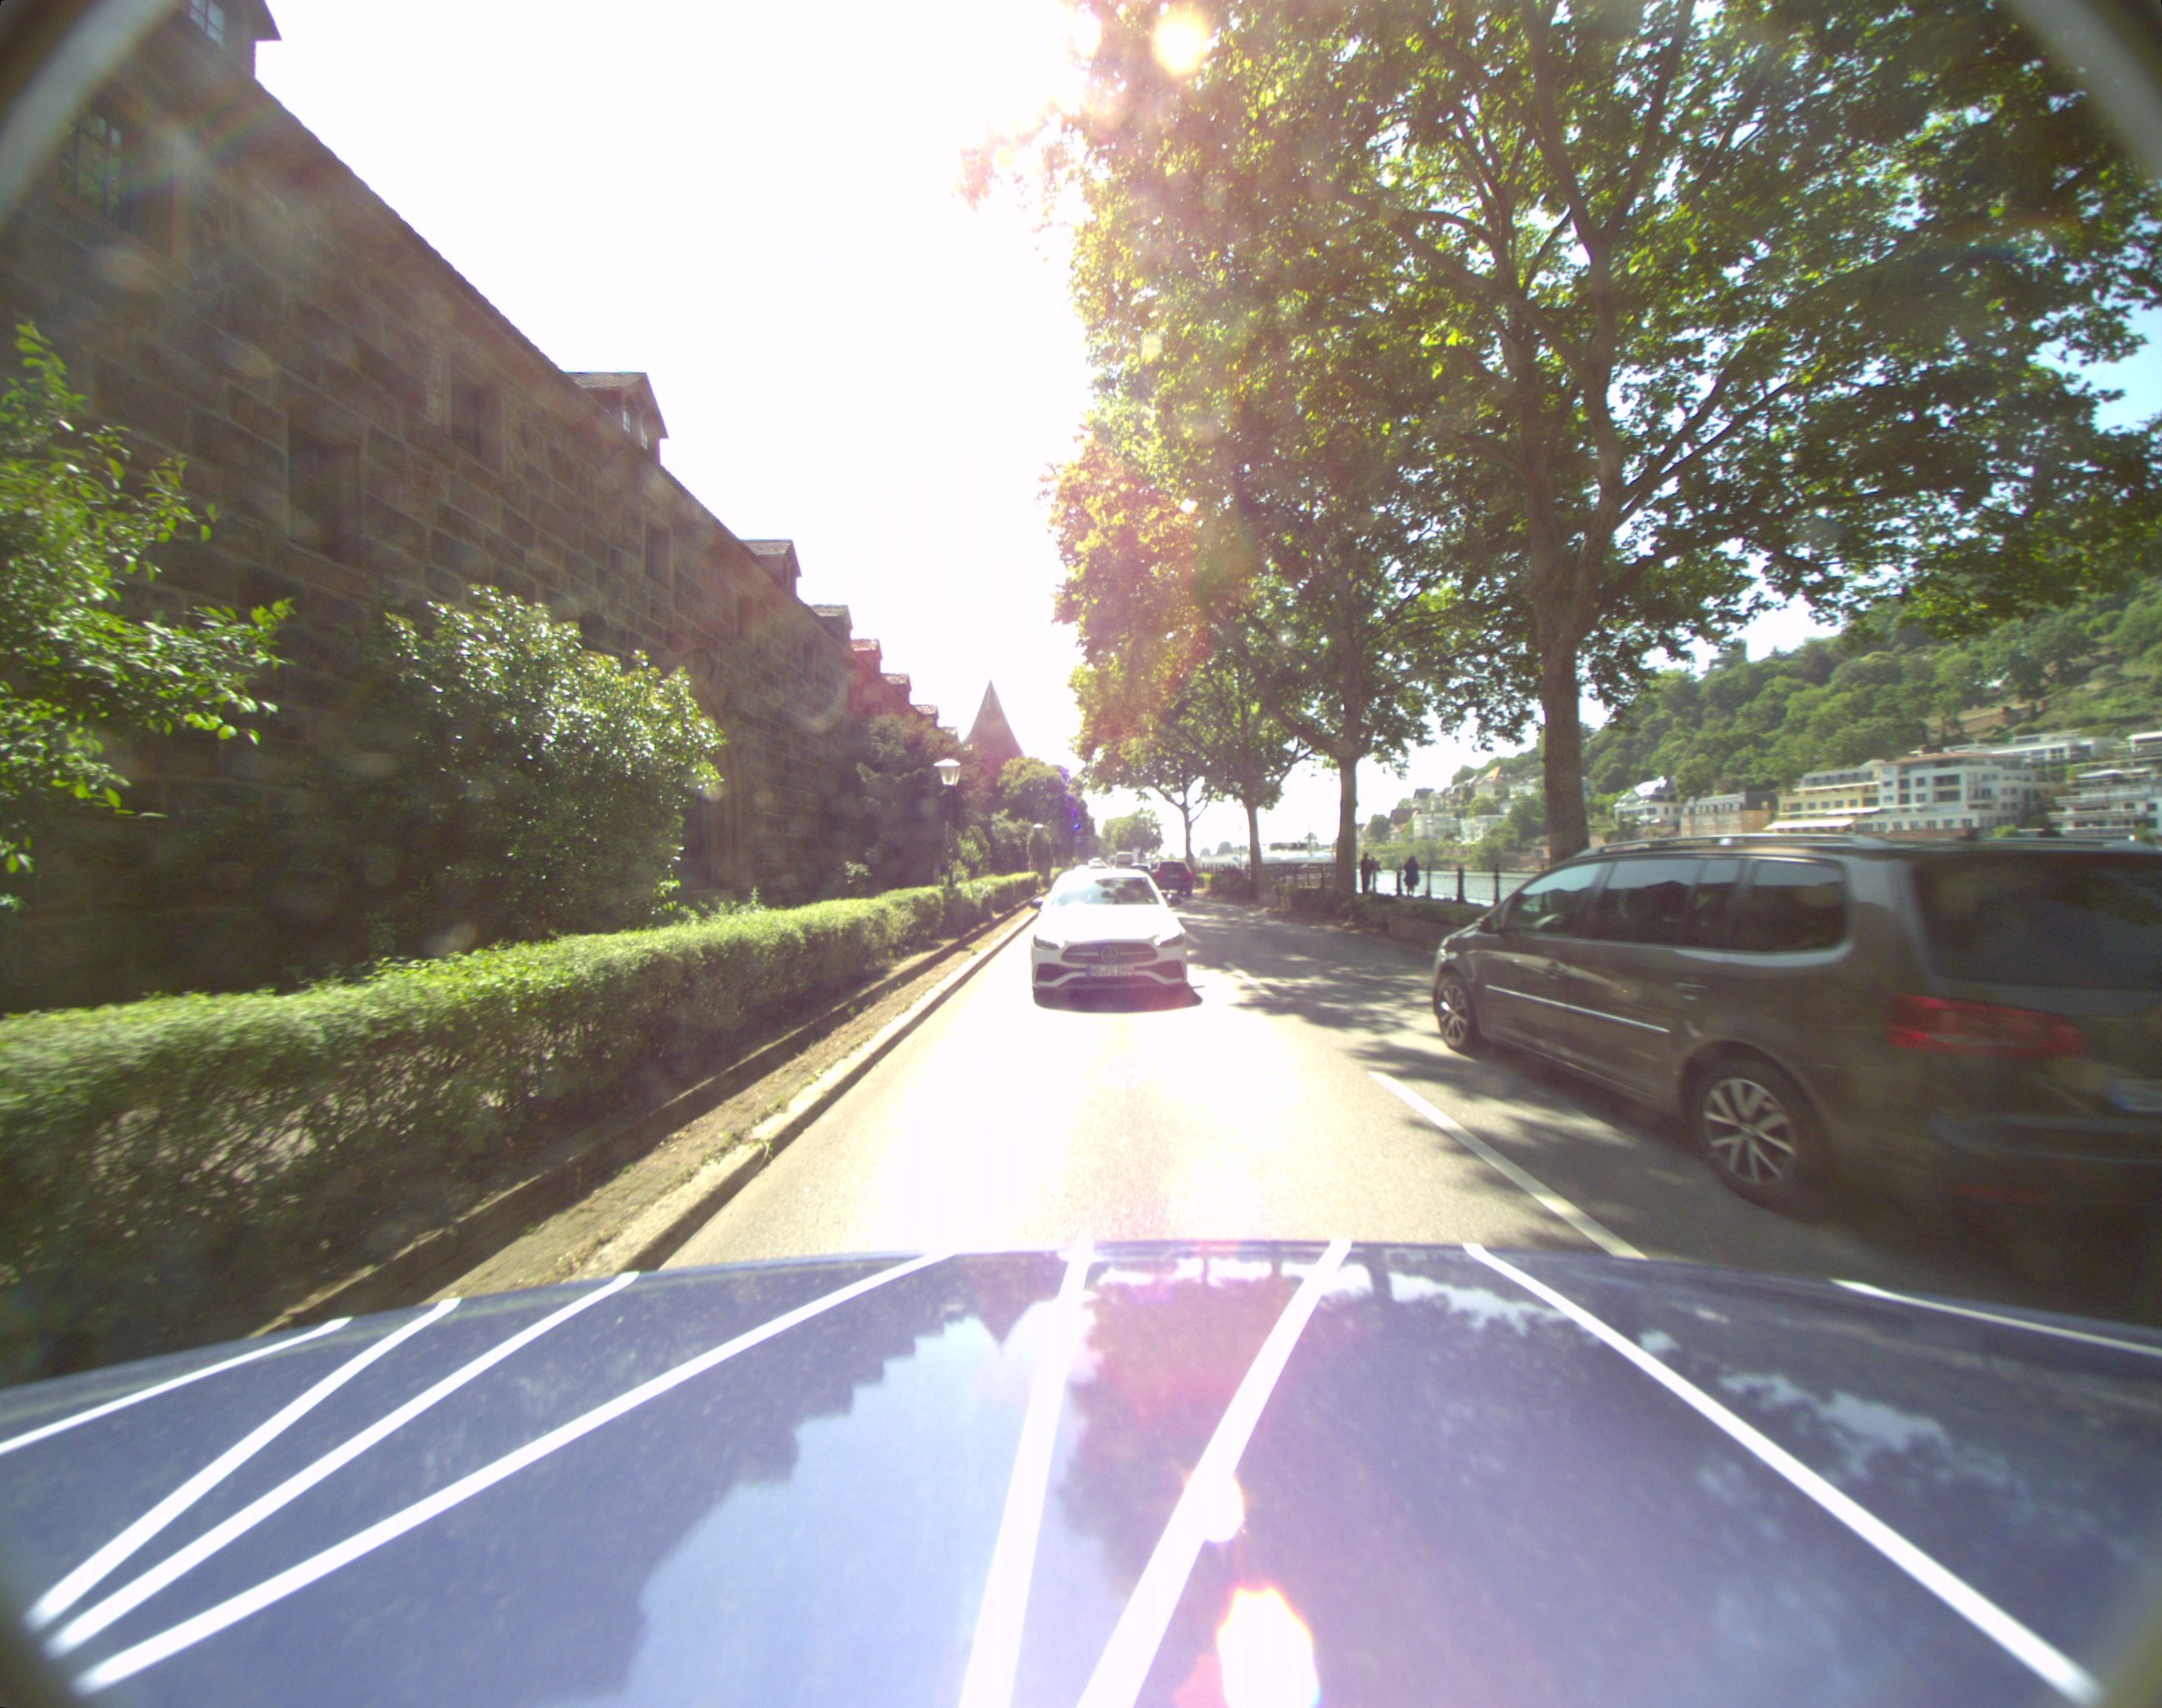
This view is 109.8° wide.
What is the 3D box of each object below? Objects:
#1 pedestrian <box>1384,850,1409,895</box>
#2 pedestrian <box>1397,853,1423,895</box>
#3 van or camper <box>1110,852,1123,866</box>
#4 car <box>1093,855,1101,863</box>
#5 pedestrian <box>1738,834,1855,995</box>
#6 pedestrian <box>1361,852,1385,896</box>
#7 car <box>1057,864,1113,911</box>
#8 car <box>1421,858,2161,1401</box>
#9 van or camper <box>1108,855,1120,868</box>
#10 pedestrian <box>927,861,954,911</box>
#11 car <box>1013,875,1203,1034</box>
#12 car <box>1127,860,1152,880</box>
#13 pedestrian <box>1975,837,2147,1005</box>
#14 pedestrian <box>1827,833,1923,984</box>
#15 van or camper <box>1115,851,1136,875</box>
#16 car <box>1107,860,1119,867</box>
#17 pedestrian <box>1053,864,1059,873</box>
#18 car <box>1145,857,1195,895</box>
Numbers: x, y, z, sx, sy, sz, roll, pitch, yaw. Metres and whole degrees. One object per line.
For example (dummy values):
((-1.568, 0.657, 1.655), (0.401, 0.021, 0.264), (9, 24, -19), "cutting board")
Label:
((12.809, 0.743, 30.839), (0.705, 1.786, 0.705), (-1, 1, 3), "pedestrian")
((12.642, 0.749, 29.226), (0.705, 1.594, 0.705), (-1, 1, 3), "pedestrian")
((6.809, 0.883, 146.141), (2.328, 2.646, 6.264), (1, 0, 1), "van or camper")
((4.138, 1.282, 198.389), (1.923, 1.975, 4.000), (0, 0, 0), "car")
((8.613, 0.699, 9.185), (0.642, 1.859, 0.806), (0, 0, 2), "pedestrian")
((11.725, 0.797, 30.547), (0.705, 1.721, 0.705), (-1, 1, 3), "pedestrian")
((0.183, 1.163, 27.451), (1.854, 1.543, 3.849), (0, 0, 1), "car")
((3.720, 0.856, 4.338), (1.767, 1.638, 4.090), (1, 0, 1), "car")
((7.039, 1.486, 161.133), (2.328, 2.646, 6.264), (1, 0, 1), "van or camper")
((-4.653, 1.047, 25.129), (0.700, 1.643, 0.705), (-1, 0, 3), "pedestrian")
((0.304, 1.054, 9.659), (1.829, 1.418, 4.359), (-2, 0, 1), "car")
((4.428, 1.180, 57.778), (1.653, 1.460, 3.780), (-1, 0, 1), "car")
((10.640, 0.694, 8.289), (0.695, 1.707, 0.874), (-3, 0, 0), "pedestrian")
((9.555, 0.644, 9.161), (0.518, 1.758, 0.592), (-1, 0, 2), "pedestrian")
((4.792, 0.937, 82.512), (1.965, 2.552, 5.841), (1, 0, 1), "van or camper")
((5.441, 1.580, 128.236), (1.703, 1.204, 3.485), (-1, 0, -2), "car")
((-3.437, 1.911, 103.775), (0.632, 1.186, 0.747), (-3, 0, 3), "pedestrian")
((4.178, 1.005, 36.369), (1.881, 1.688, 4.259), (-1, 0, 0), "car")
